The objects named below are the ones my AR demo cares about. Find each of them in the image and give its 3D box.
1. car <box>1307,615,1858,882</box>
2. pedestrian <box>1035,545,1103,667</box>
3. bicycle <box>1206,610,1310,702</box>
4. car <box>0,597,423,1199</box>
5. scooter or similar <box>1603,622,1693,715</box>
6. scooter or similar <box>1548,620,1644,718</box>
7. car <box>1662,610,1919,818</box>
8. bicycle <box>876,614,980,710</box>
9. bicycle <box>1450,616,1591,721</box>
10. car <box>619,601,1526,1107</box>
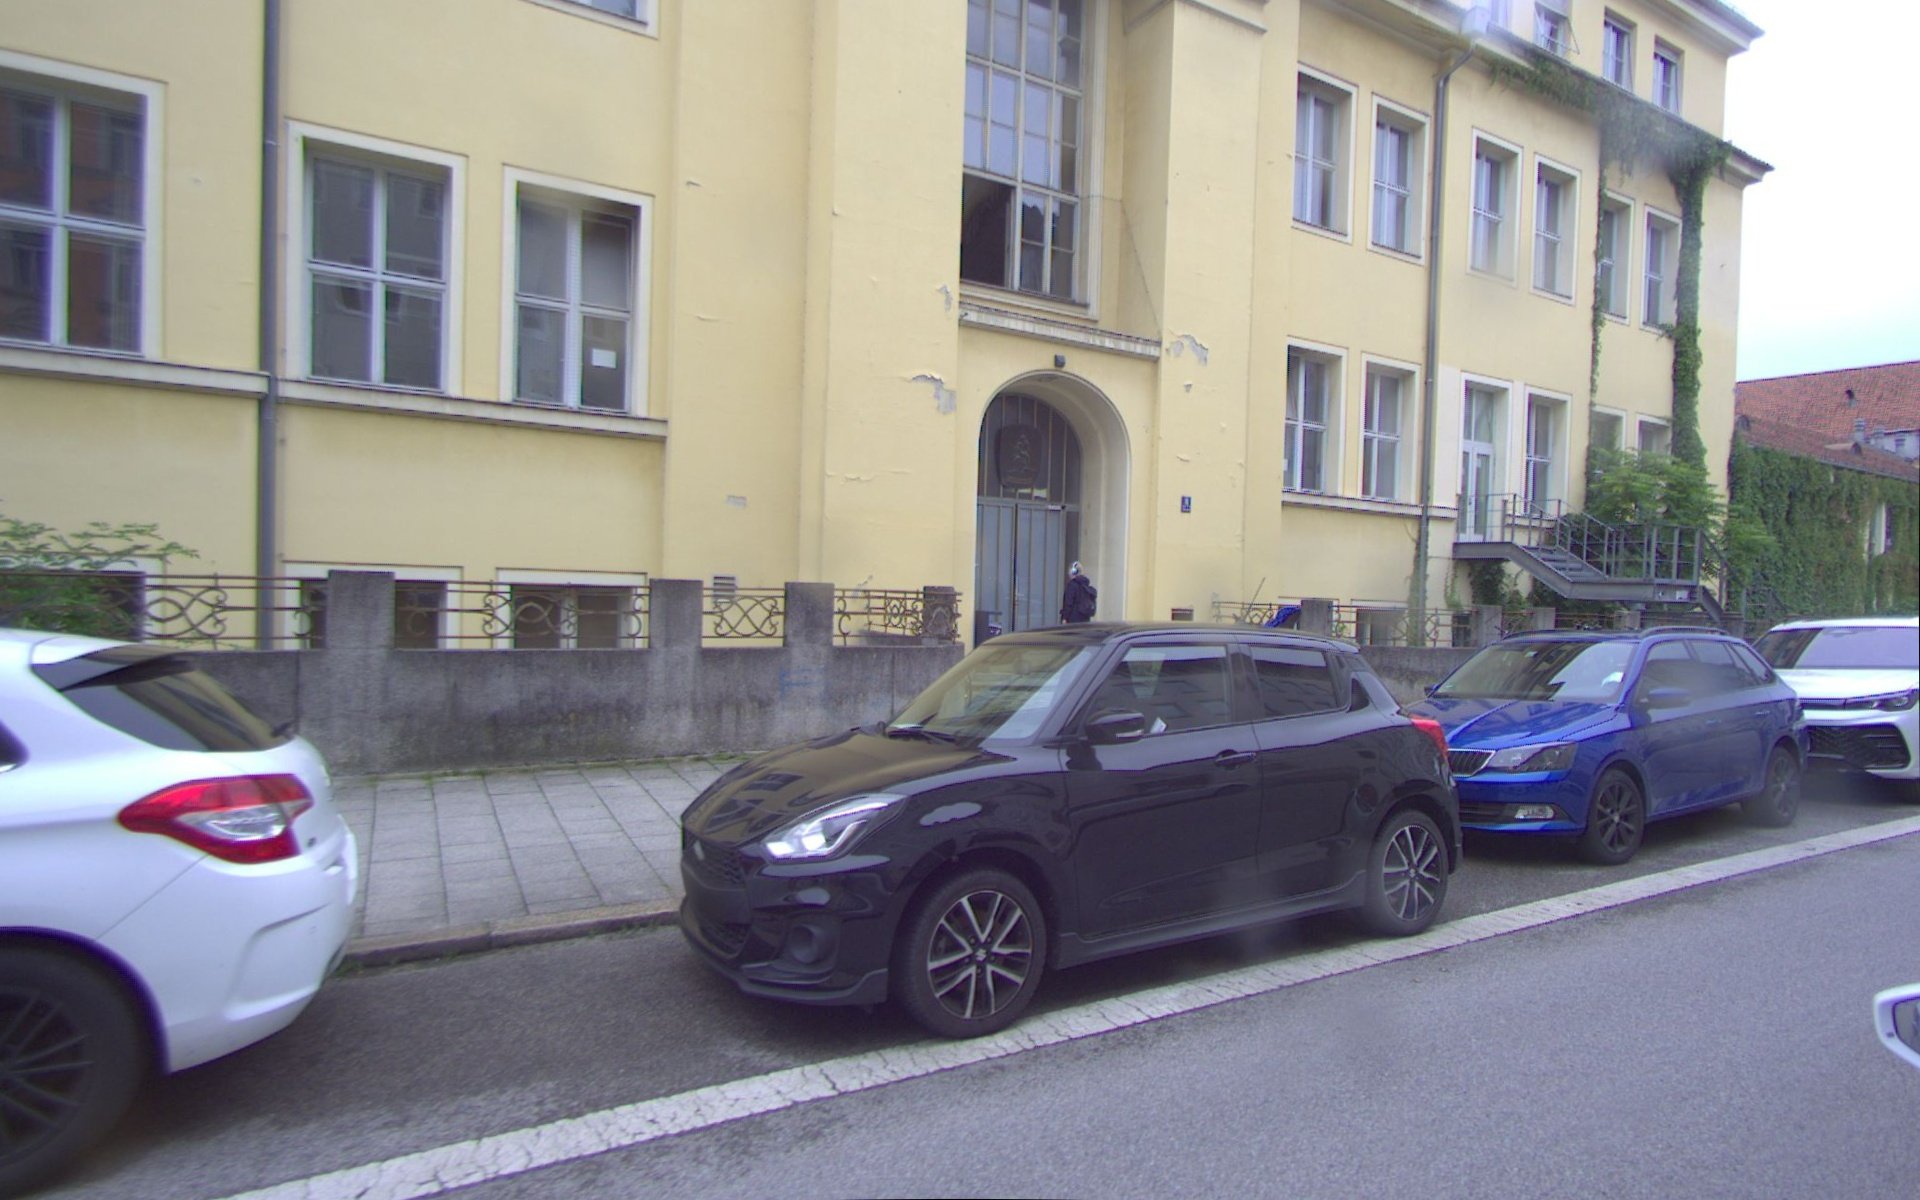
[{"bbox_3d":[4.849,0.975,7.663,4.444,1.521,1.695,2,-5,-31],"label":"car"},{"bbox_3d":[1.596,0.095,14.925,0.886,1.742,1.059,1,0,0],"label":"pedestrian"},{"bbox_3d":[4.471,0.810,15.181,0.520,1.285,1.619,1,0,-27],"label":"bicycle"},{"bbox_3d":[-3.989,0.708,2.540,4.596,1.451,1.776,2,1,-30],"label":"car"},{"bbox_3d":[10.813,1.055,15.786,1.483,1.387,0.557,1,0,-29],"label":"scooter or similar"},{"bbox_3d":[9.501,1.009,14.992,1.483,1.387,0.557,1,0,-29],"label":"scooter or similar"},{"bbox_3d":[9.133,0.978,10.058,4.803,1.655,1.736,2,-1,-32],"label":"car"},{"bbox_3d":[-0.418,0.718,12.263,0.422,1.064,1.645,1,0,-35],"label":"bicycle"},{"bbox_3d":[7.798,0.928,13.955,2.087,1.346,0.678,2,1,-29],"label":"bicycle"},{"bbox_3d":[0.660,0.860,4.805,4.099,1.516,1.692,2,-3,-30],"label":"car"}]
